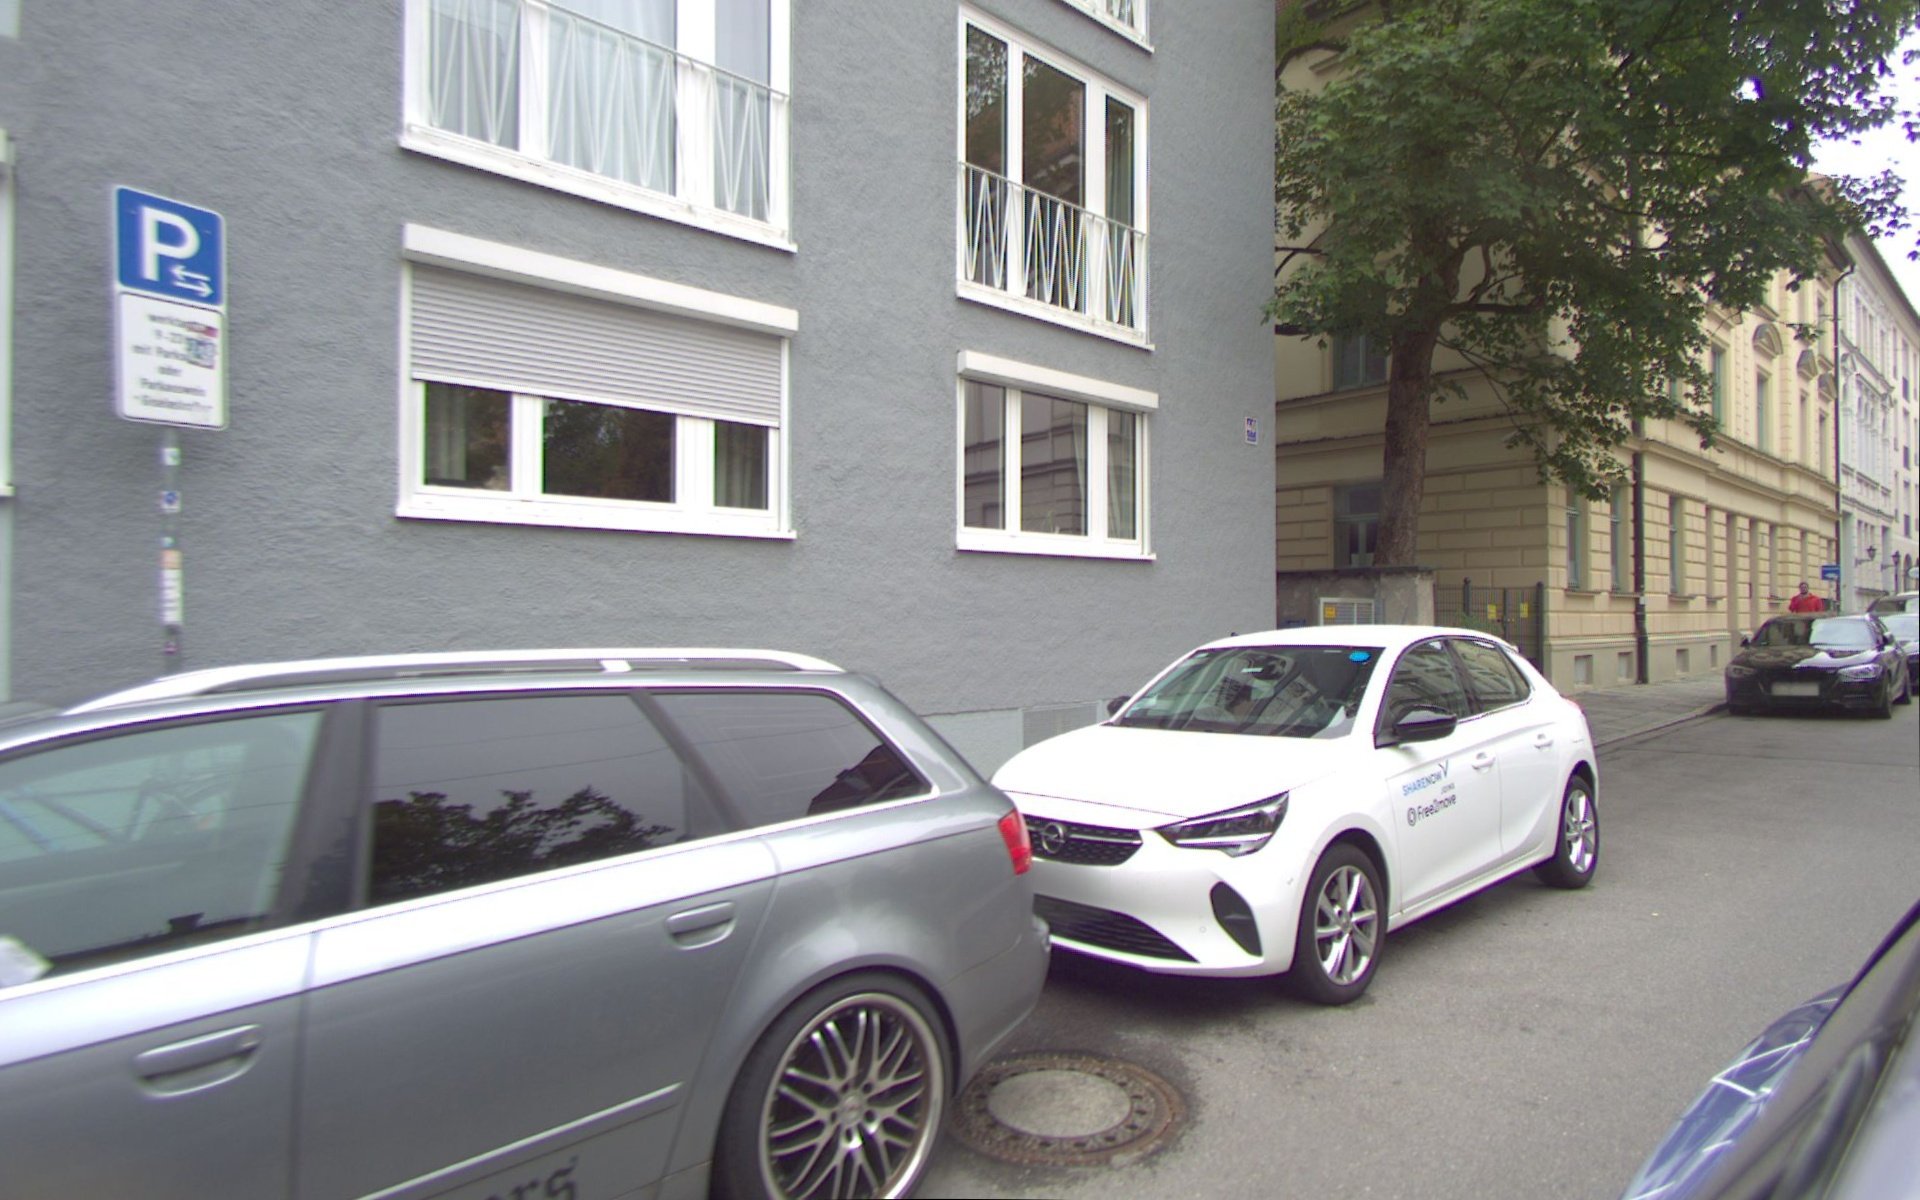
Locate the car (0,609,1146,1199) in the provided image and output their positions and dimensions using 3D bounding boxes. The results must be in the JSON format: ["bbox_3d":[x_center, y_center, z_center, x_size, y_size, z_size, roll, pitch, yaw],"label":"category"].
[{"bbox_3d":[-1.733,0.797,2.325,4.405,1.419,1.792,0,-4,-40],"label":"car"}]

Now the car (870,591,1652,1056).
[{"bbox_3d":[1.809,0.759,5.270,4.266,1.465,1.771,0,-4,-40],"label":"car"}]

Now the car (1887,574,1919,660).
[{"bbox_3d":[25.148,0.413,25.408,4.971,2.039,1.998,0,0,-38],"label":"car"}]

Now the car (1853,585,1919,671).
[{"bbox_3d":[20.713,0.562,21.490,4.430,1.708,1.997,0,0,-40],"label":"car"}]

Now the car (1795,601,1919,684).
[{"bbox_3d":[16.733,0.686,18.107,4.511,1.330,1.997,0,0,-40],"label":"car"}]

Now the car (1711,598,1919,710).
[{"bbox_3d":[12.746,0.710,14.884,4.433,1.392,1.857,0,-2,-42],"label":"car"}]

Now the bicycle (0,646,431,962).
[{"bbox_3d":[-3.223,0.788,4.329,1.656,1.124,0.378,0,0,-40],"label":"bicycle"}]

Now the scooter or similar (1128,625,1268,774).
[{"bbox_3d":[2.138,0.838,9.026,1.351,1.189,0.506,0,1,-40],"label":"scooter or similar"}]

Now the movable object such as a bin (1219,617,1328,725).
[{"bbox_3d":[4.276,0.943,13.822,1.034,1.377,1.000,1,-3,-41],"label":"movable object such as a bin"}]

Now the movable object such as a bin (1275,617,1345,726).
[{"bbox_3d":[4.570,0.916,13.211,0.622,1.377,0.590,1,-3,-41],"label":"movable object such as a bin"}]

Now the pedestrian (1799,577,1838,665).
[{"bbox_3d":[19.787,0.471,23.325,0.447,2.003,0.580,1,-1,-40],"label":"pedestrian"}]
